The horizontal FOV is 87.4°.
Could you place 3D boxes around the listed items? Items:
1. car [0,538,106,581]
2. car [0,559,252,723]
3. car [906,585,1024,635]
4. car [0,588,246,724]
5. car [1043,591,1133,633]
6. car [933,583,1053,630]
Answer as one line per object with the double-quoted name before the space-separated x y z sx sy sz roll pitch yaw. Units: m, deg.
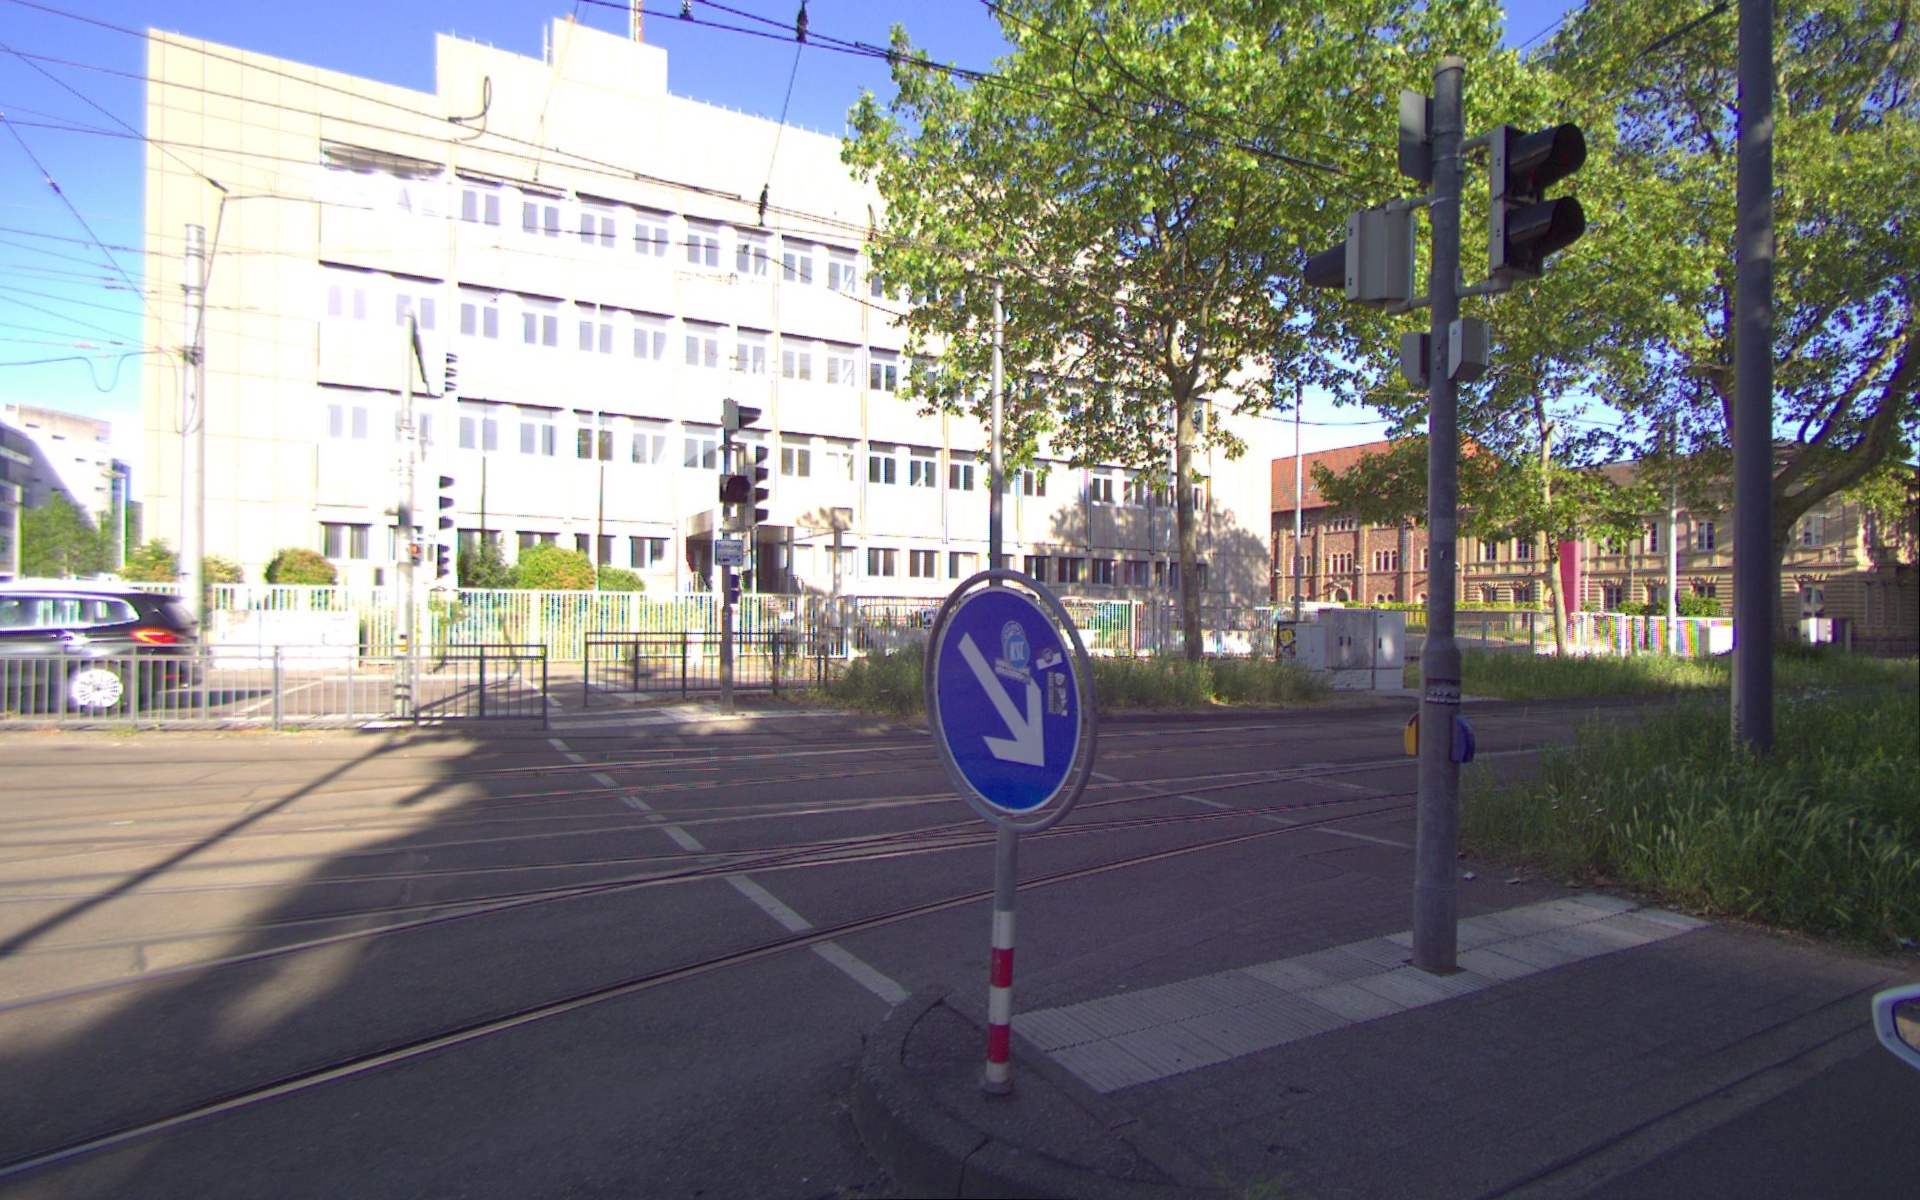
"car" -47.857 -2.100 52.978 3.952 2.040 1.984 1 0 -30
"car" -12.020 0.495 12.941 4.360 1.974 1.989 1 0 -23
"car" 0.220 0.441 42.797 4.660 2.040 1.988 1 -1 -25
"car" -12.204 0.678 12.935 4.699 1.638 1.984 1 -1 -30
"car" 6.556 0.618 51.941 1.980 2.040 4.709 1 -1 -35
"car" 1.305 0.281 39.720 4.318 1.726 1.988 1 -1 -25
